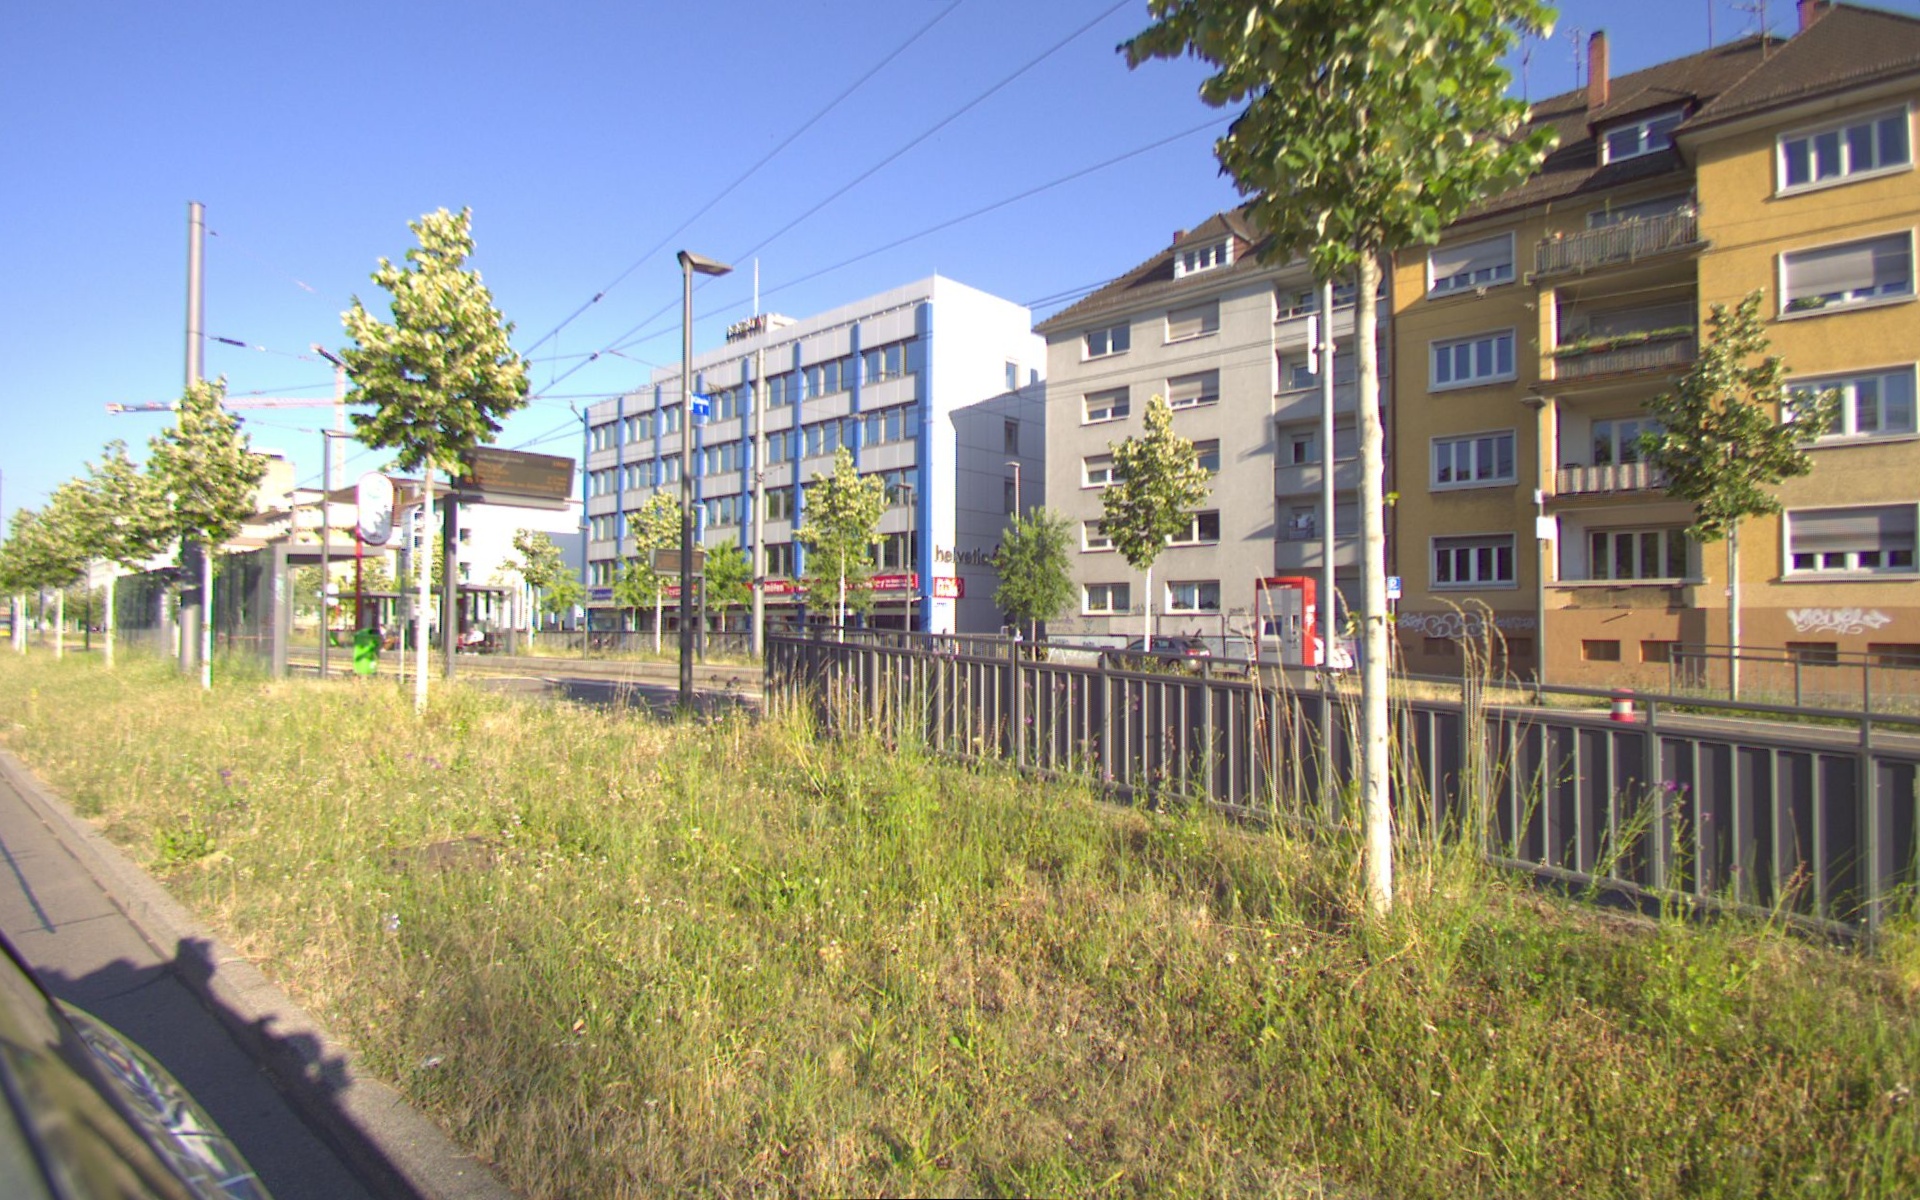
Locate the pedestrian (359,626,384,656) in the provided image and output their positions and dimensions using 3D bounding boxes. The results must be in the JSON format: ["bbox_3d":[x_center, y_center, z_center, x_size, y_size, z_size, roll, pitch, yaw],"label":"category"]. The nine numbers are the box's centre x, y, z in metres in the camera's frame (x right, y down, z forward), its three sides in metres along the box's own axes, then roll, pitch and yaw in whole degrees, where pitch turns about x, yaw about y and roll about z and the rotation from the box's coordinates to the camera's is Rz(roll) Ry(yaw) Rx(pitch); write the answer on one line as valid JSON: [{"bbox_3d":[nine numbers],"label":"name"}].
[{"bbox_3d":[-28.472,1.963,48.933,0.803,1.421,0.829,-2,-3,42],"label":"pedestrian"}]

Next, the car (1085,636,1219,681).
[{"bbox_3d":[6.924,2.065,36.717,4.430,1.519,1.972,-2,-3,42],"label":"car"}]

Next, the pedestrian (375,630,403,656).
[{"bbox_3d":[-26.601,1.983,47.166,0.764,1.206,0.924,-2,-3,42],"label":"pedestrian"}]

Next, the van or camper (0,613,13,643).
[{"bbox_3d":[-106.242,3.117,111.554,2.476,3.192,7.480,2,-2,-44],"label":"van or camper"}]

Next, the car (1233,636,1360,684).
[{"bbox_3d":[10.970,1.916,33.079,3.552,1.497,1.728,-2,-3,42],"label":"car"}]
